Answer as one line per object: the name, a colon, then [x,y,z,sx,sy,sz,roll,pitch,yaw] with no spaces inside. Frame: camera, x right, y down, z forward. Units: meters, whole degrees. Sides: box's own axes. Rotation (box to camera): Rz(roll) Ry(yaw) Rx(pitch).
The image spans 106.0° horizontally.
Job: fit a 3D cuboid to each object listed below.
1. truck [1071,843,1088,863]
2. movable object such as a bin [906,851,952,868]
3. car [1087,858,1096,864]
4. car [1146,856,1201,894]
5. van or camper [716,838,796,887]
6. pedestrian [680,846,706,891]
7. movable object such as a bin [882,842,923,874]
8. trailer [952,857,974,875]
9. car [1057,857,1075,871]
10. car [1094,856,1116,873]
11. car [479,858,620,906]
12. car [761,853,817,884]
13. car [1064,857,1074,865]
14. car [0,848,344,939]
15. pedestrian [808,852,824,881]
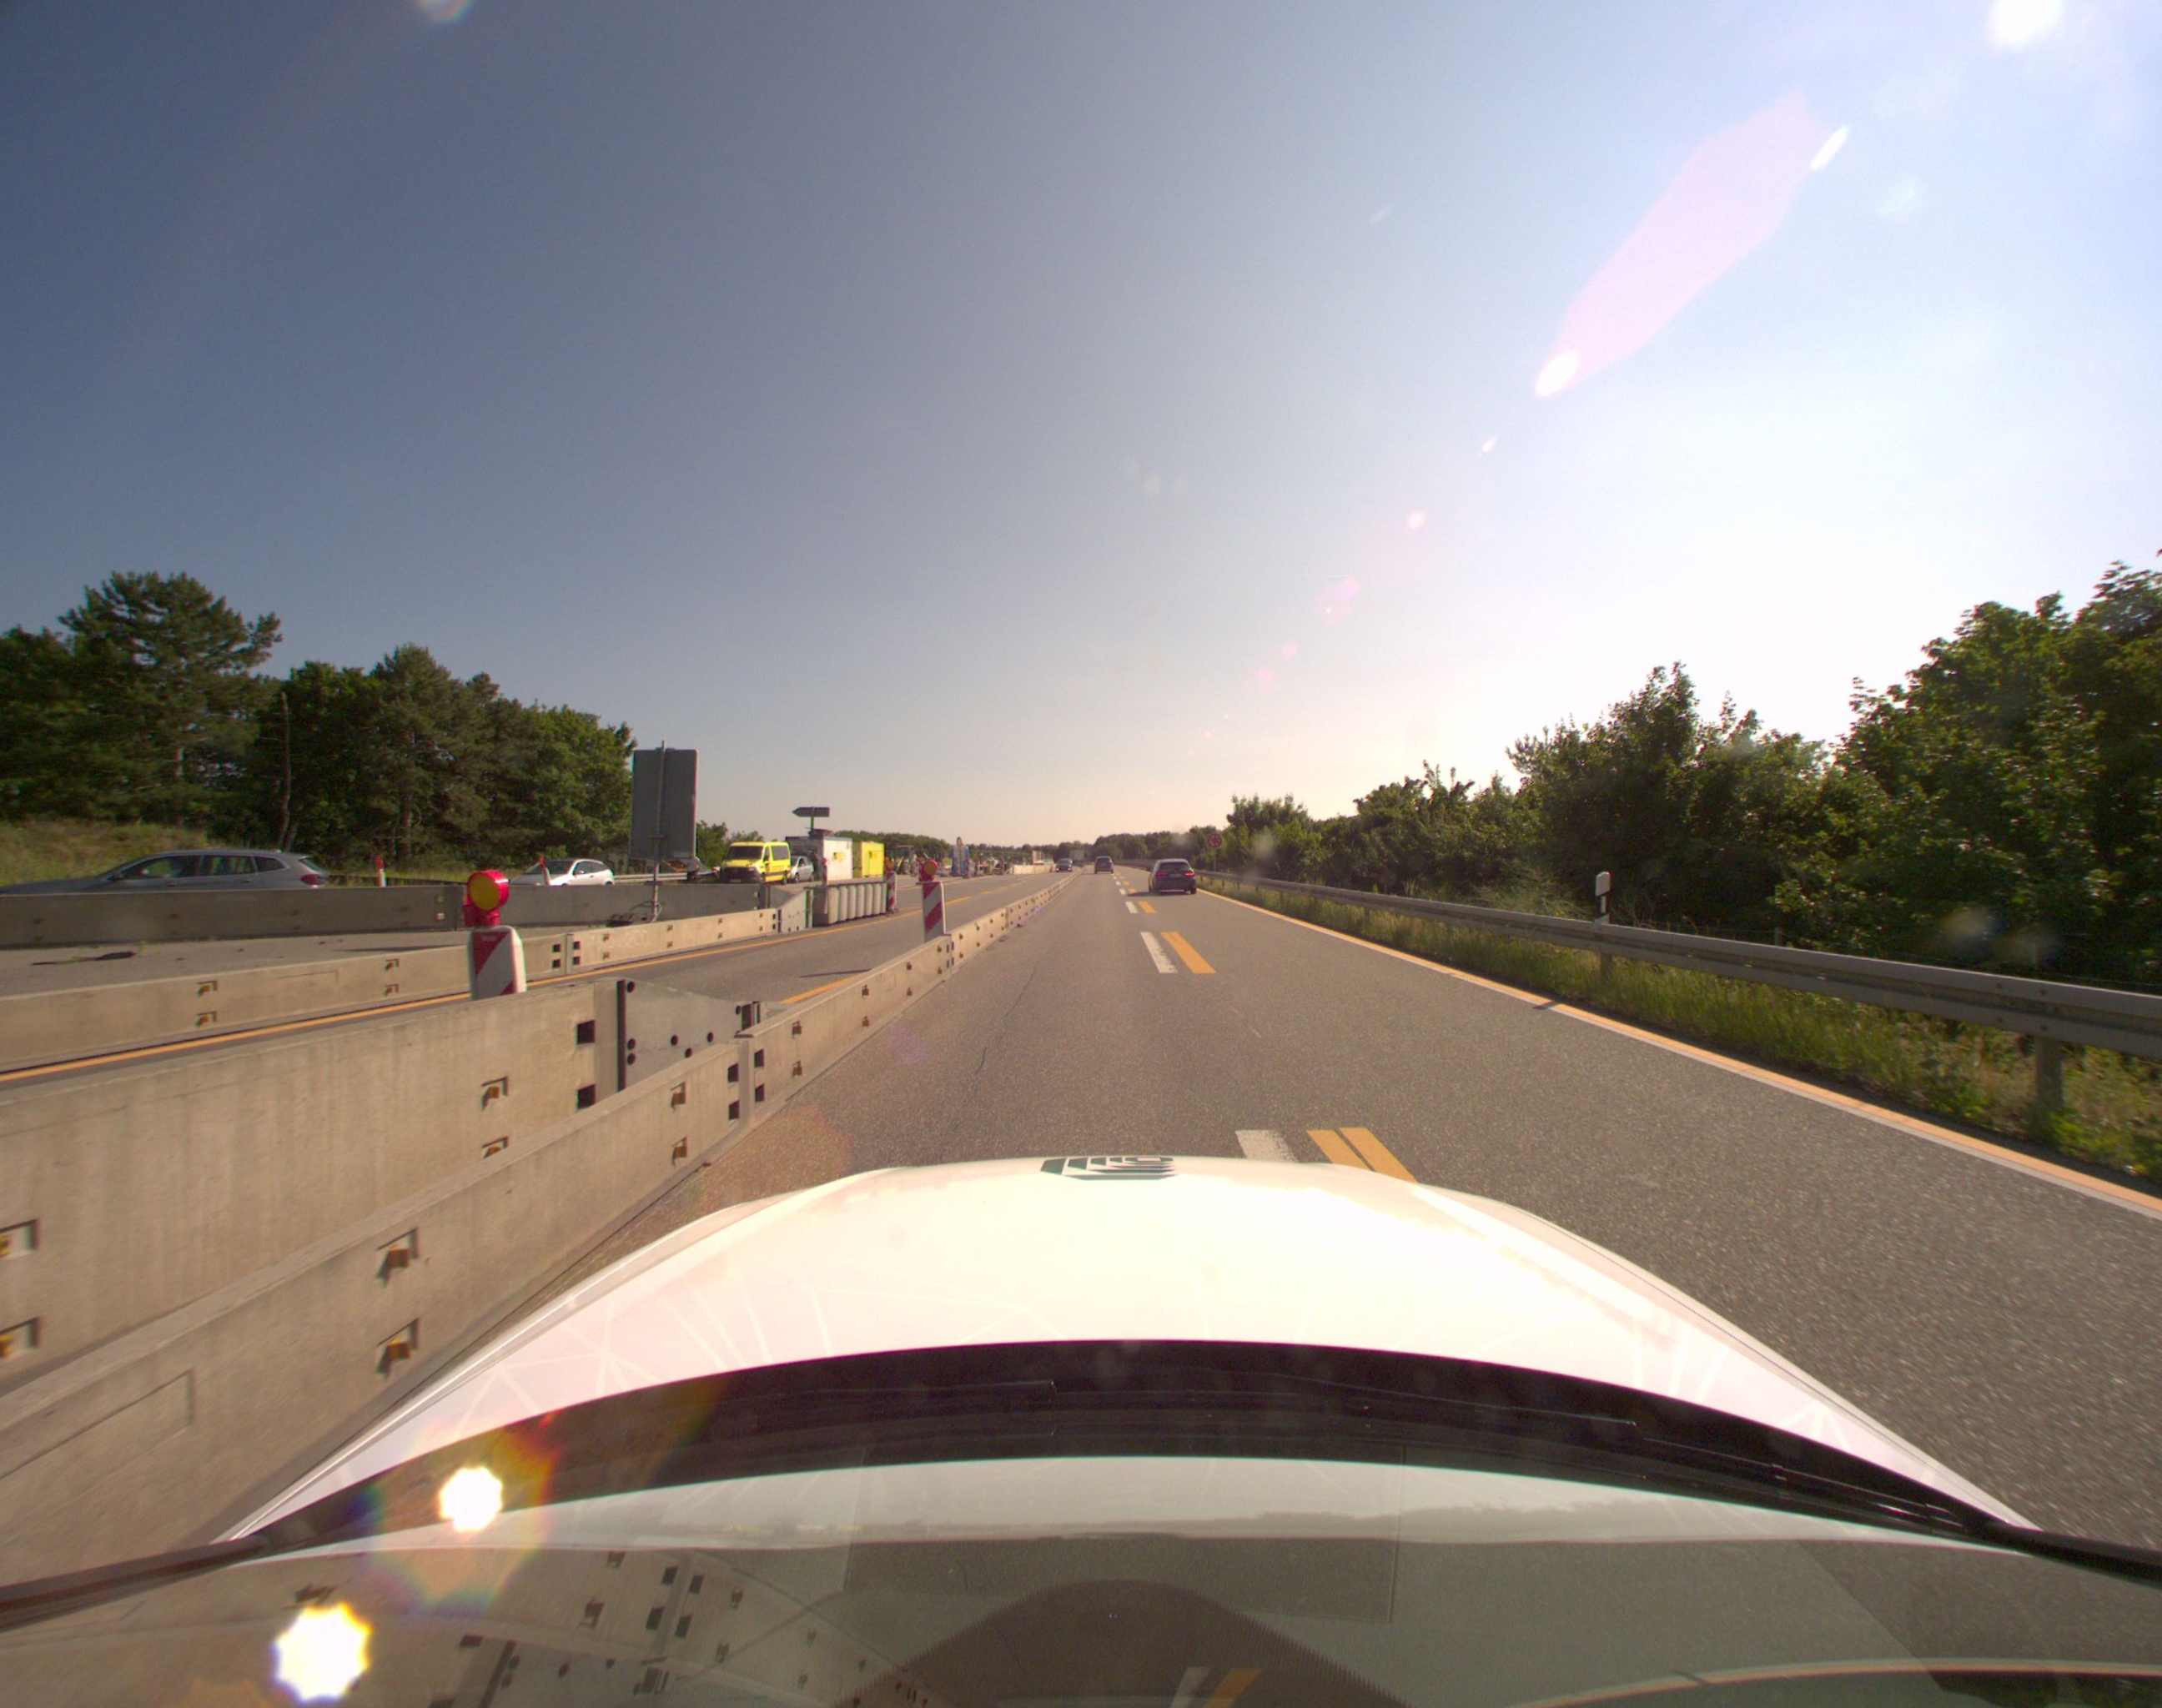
truck: [-0.396,-0.221,211.049,3.752,4.911,14.123,0,0,-2]
movable object such as a bin: [-19.931,0.778,106.818,5.347,2.116,2.249,-1,0,20]
car: [2.736,1.805,214.555,1.991,1.688,3.992,0,0,-6]
car: [3.828,0.836,34.437,1.914,1.494,4.000,-1,0,1]
van or camper: [-16.676,0.410,42.147,1.990,2.378,6.192,0,0,-4]
pedestrian: [-15.805,0.593,33.211,0.741,1.820,0.794,0,0,-10]
movable object such as a bin: [-15.759,0.346,72.184,2.021,2.715,5.117,-1,0,6]
trailer: [-10.761,1.068,74.460,1.716,1.648,3.528,0,0,-5]
car: [-1.689,1.134,92.606,1.852,1.473,4.687,0,0,2]
car: [2.295,0.958,77.361,1.986,1.567,4.002,-1,0,2]
car: [-17.597,0.876,27.245,1.856,1.460,4.295,0,0,0]
car: [-16.917,0.803,47.365,1.682,1.686,4.456,0,0,-1]
car: [-2.423,1.364,165.238,1.976,1.651,4.547,0,0,-1]
car: [-18.397,0.707,16.660,4.873,1.622,1.976,0,0,-41]
pedestrian: [-16.417,0.759,50.478,0.720,1.762,0.720,0,0,0]
